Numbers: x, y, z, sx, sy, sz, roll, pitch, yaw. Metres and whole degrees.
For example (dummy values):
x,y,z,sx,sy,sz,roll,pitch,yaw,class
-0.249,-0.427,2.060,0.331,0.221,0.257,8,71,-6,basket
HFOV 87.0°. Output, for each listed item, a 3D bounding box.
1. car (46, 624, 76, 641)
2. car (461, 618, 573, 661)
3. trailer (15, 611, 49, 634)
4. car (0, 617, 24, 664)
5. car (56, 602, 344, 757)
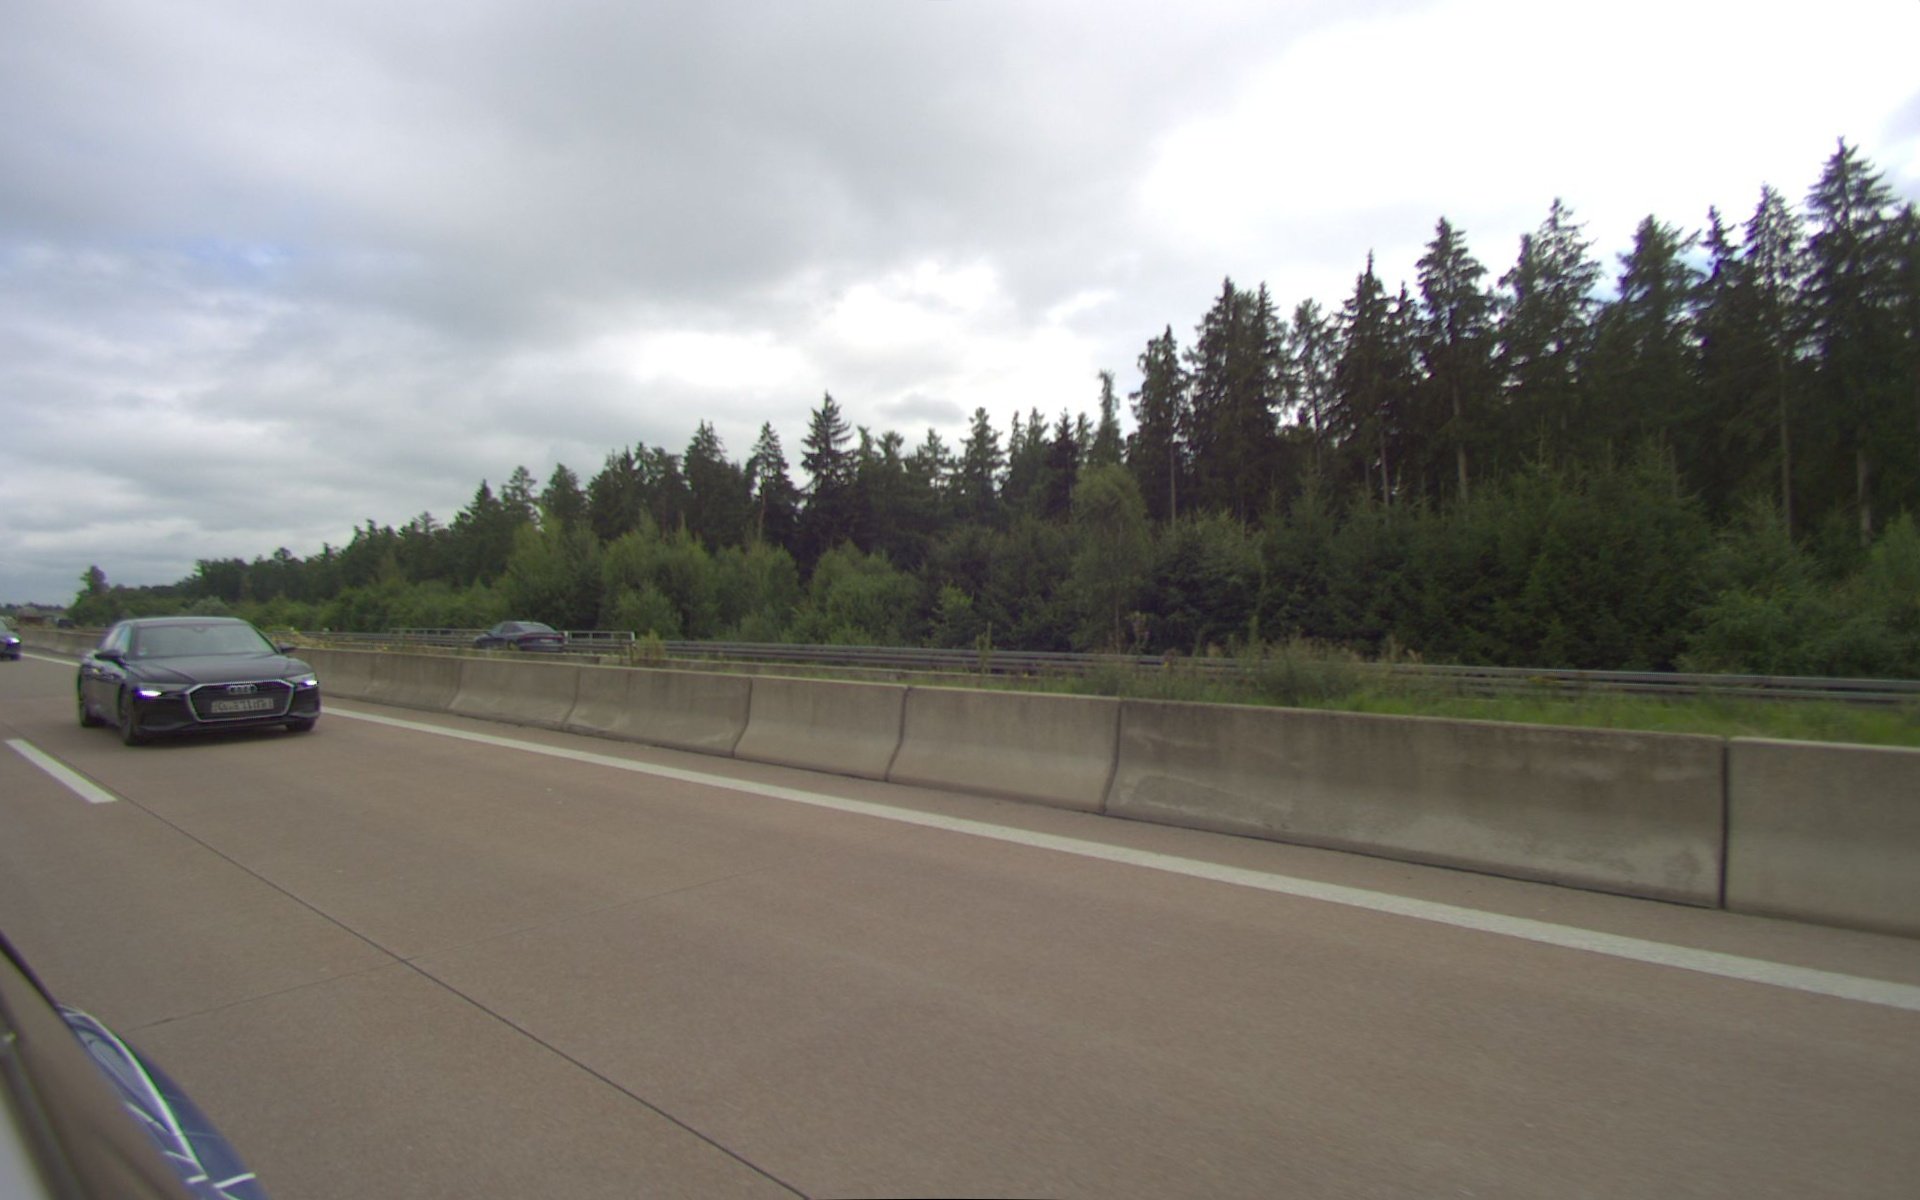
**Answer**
x,y,z,sx,sy,sz,roll,pitch,yaw,class
-116.263,4.153,130.840,5.267,2.028,2.231,-1,1,42,car
-17.732,1.540,40.411,5.195,1.603,2.102,-1,-2,41,car
-148.313,3.607,161.685,13.269,3.445,2.902,-1,0,43,trailer
-33.180,1.351,34.002,5.450,1.503,2.037,-1,-1,41,car
-10.026,0.861,13.115,5.675,1.562,2.062,-1,0,43,car
